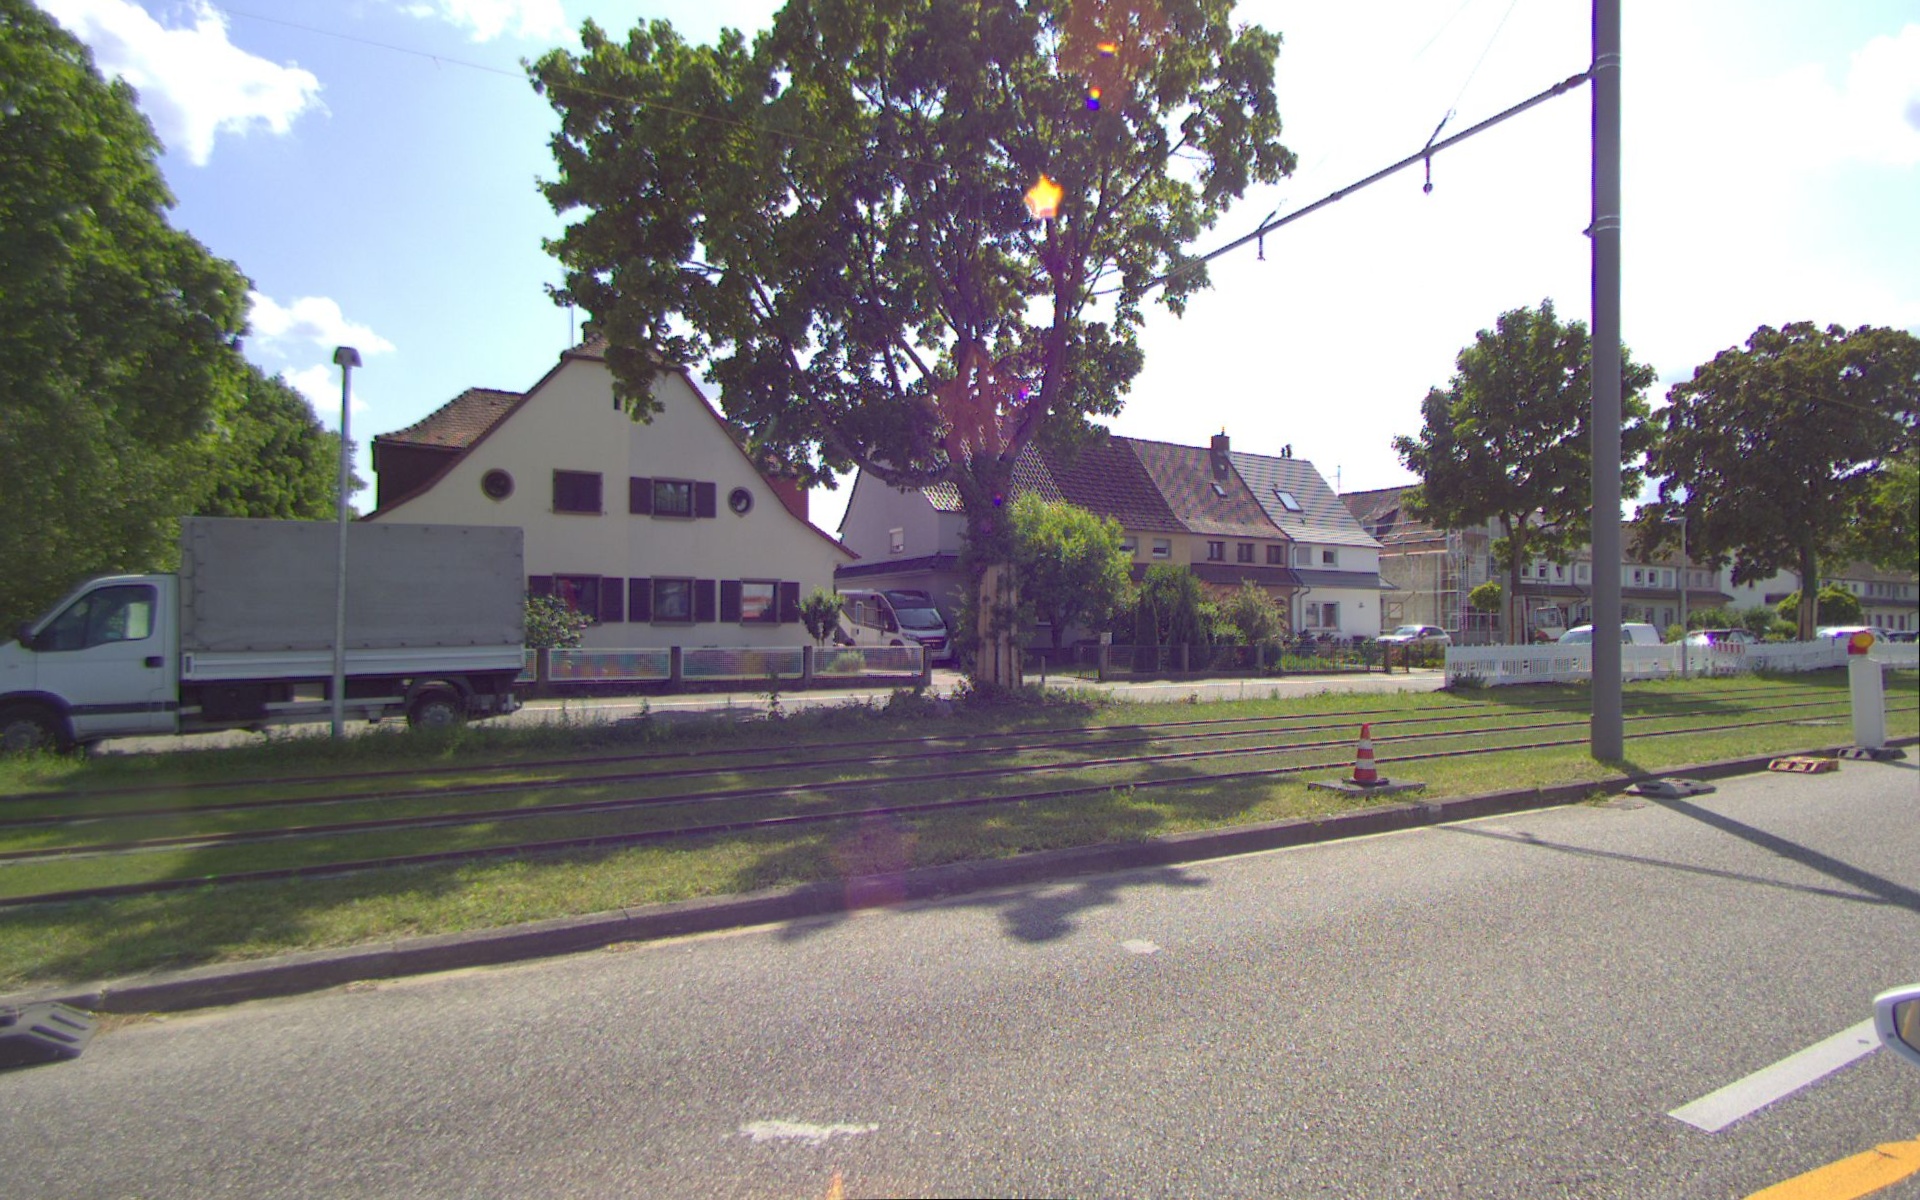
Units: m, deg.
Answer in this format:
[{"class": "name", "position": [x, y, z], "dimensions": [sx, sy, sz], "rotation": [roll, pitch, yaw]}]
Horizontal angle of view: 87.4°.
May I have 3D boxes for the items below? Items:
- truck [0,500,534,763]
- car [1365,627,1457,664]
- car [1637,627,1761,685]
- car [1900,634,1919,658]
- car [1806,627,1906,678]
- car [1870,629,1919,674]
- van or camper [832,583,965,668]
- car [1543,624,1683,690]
[{"class": "truck", "position": [-8.835, 0.405, 12.954], "dimensions": [5.906, 2.817, 2.255], "rotation": [1, -2, -31]}, {"class": "car", "position": [19.983, 1.992, 44.484], "dimensions": [3.953, 1.539, 1.768], "rotation": [1, -2, -30]}, {"class": "car", "position": [24.286, 1.791, 32.991], "dimensions": [4.177, 1.797, 1.768], "rotation": [1, -2, -30]}, {"class": "car", "position": [70.019, 3.305, 72.744], "dimensions": [4.079, 1.745, 1.768], "rotation": [1, -2, -30]}, {"class": "car", "position": [35.356, 2.031, 39.631], "dimensions": [4.079, 1.892, 1.768], "rotation": [1, -2, -30]}, {"class": "car", "position": [40.639, 2.165, 42.689], "dimensions": [4.079, 1.829, 1.768], "rotation": [1, -2, -30]}, {"class": "van or camper", "position": [-2.381, 0.941, 36.636], "dimensions": [2.269, 2.801, 6.050], "rotation": [1, -2, -32]}, {"class": "car", "position": [19.551, 1.645, 30.041], "dimensions": [4.312, 1.845, 1.768], "rotation": [1, -2, -30]}]
